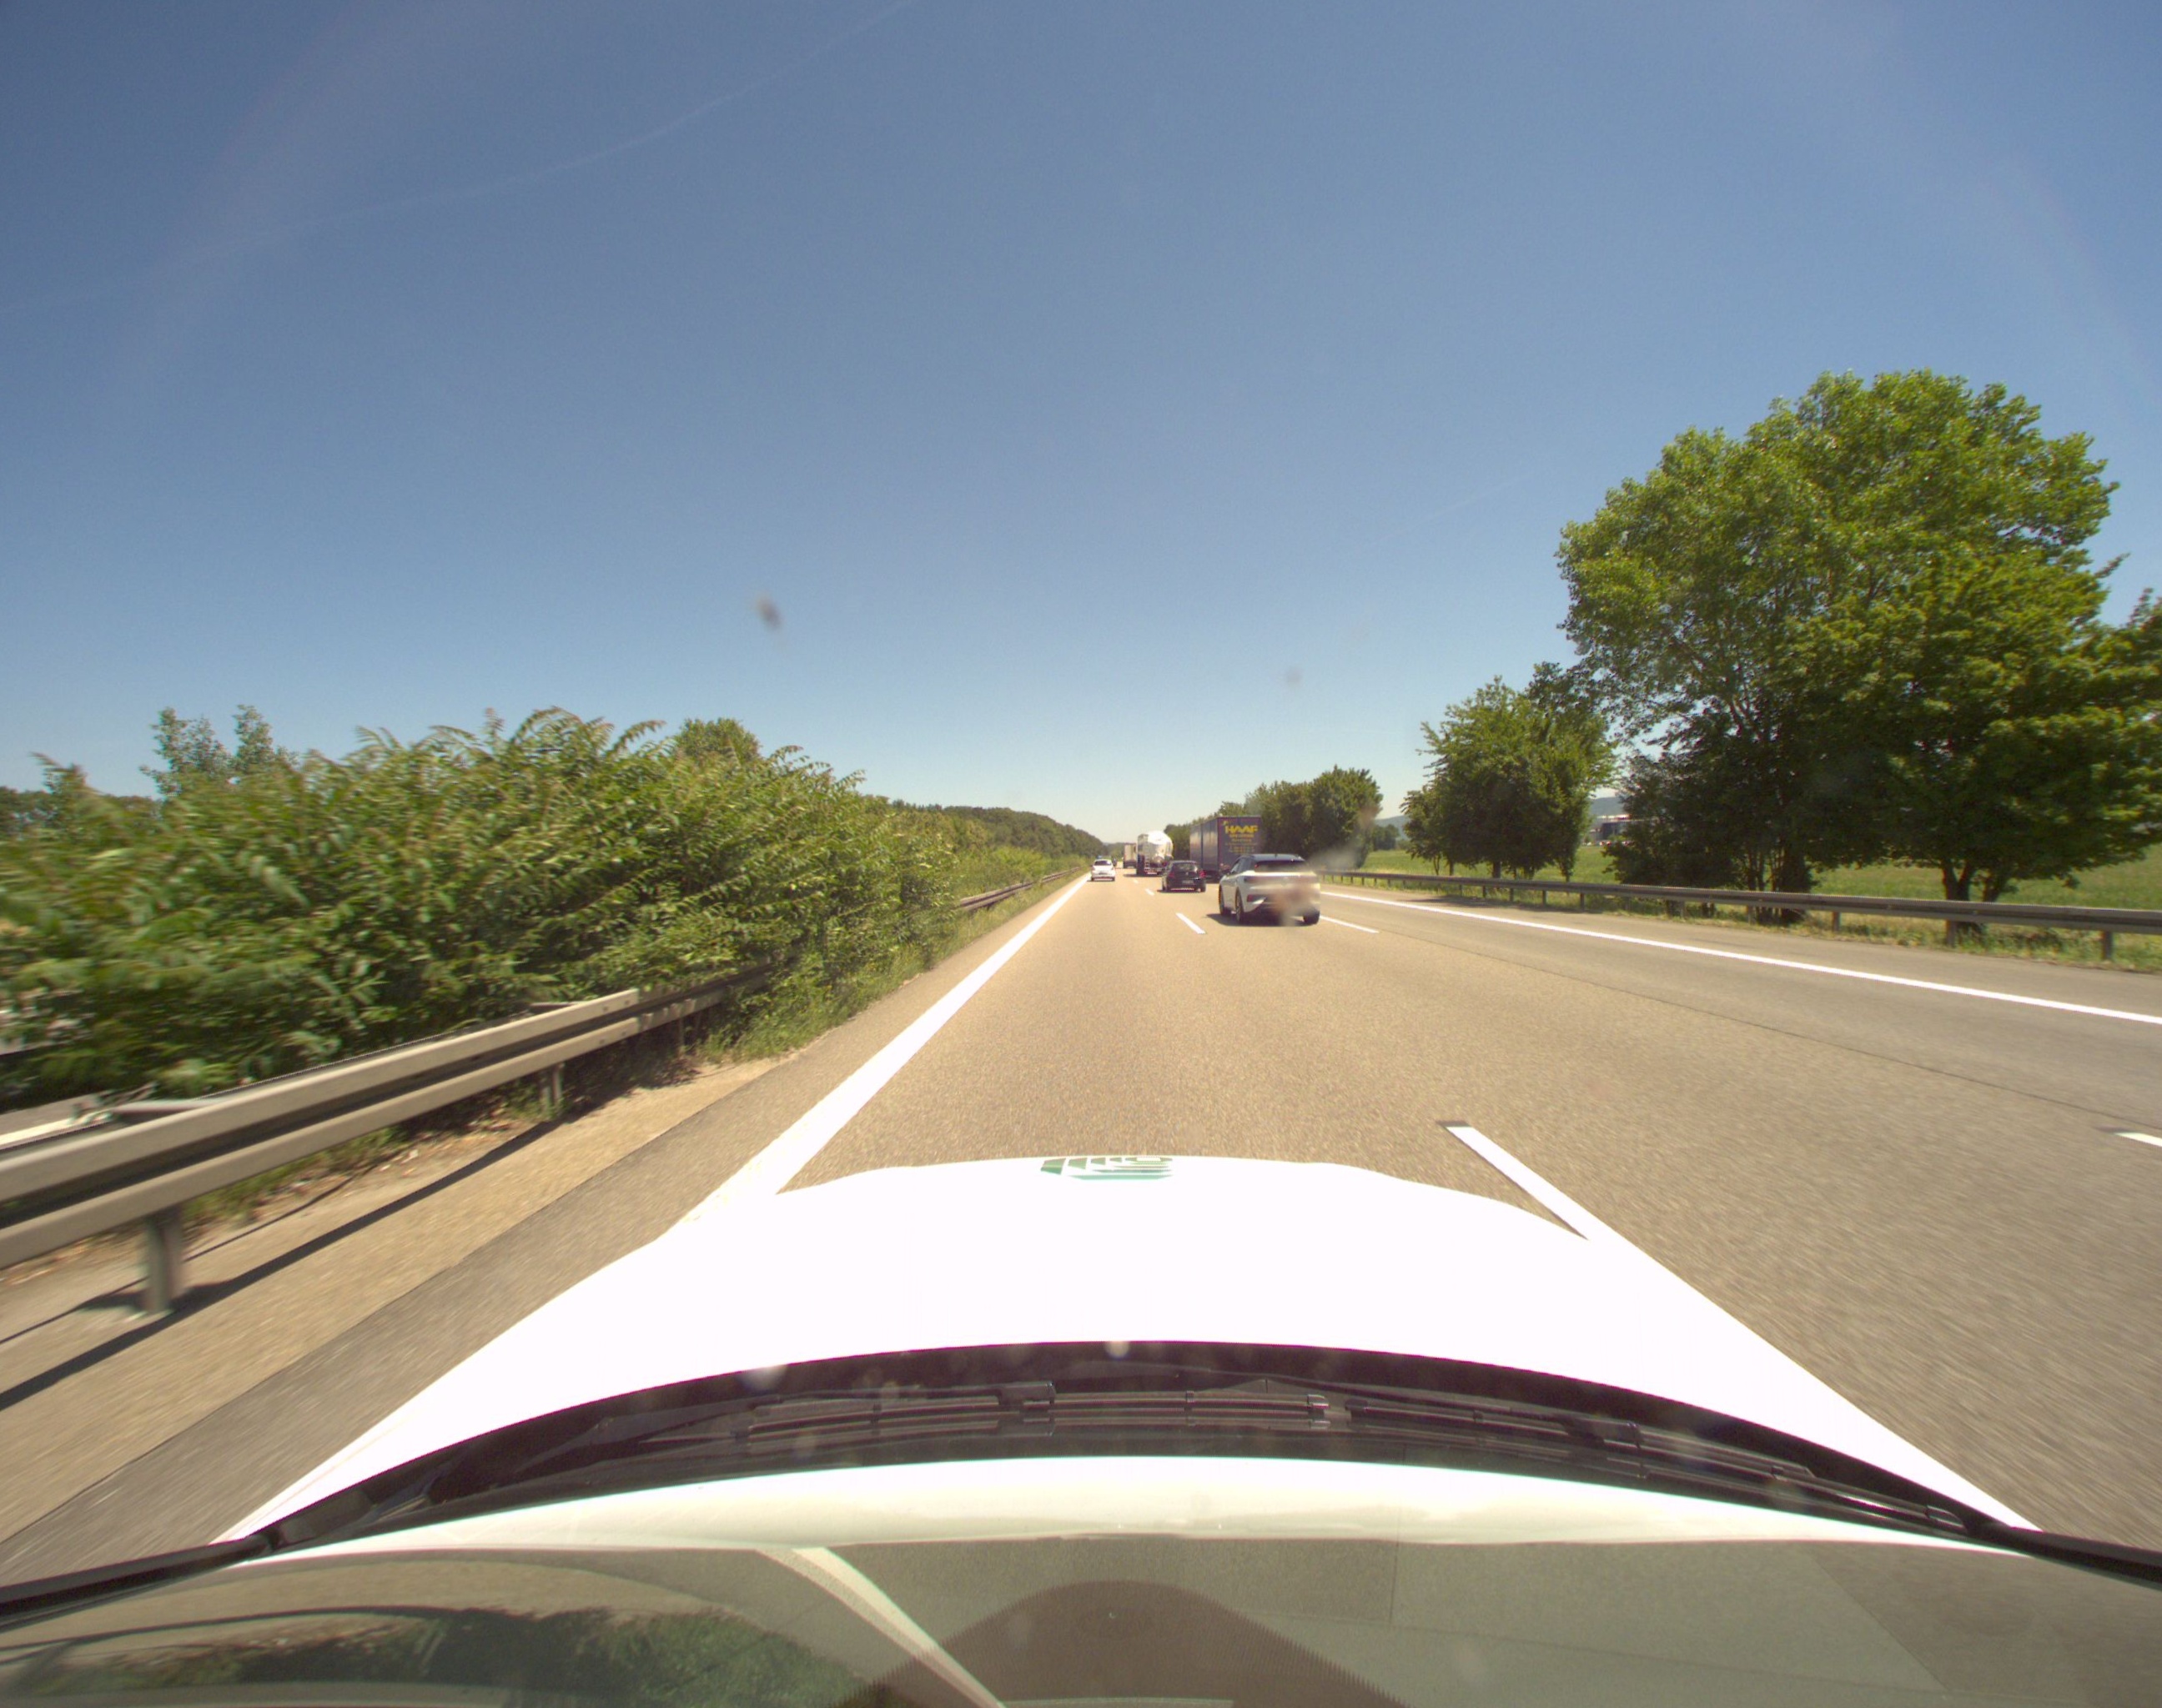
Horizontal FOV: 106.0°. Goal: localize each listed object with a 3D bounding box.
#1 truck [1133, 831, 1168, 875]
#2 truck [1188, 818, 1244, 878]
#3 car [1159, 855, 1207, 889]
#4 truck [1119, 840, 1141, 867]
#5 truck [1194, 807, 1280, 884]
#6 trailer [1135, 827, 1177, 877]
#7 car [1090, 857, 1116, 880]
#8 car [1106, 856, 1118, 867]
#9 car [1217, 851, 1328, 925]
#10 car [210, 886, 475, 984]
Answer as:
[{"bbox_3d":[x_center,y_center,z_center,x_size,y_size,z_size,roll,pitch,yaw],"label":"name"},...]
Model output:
[{"bbox_3d":[6.694,-0.106,79.090,2.902,4.079,7.195,0,0,1],"label":"truck"},{"bbox_3d":[9.836,-0.414,60.250,3.097,4.139,8.060,0,0,2],"label":"truck"},{"bbox_3d":[4.645,0.796,37.688,1.843,1.523,3.959,0,0,2],"label":"car"},{"bbox_3d":[7.985,-0.121,133.733,3.381,4.214,12.089,0,0,2],"label":"truck"},{"bbox_3d":[9.486,-0.428,51.598,3.097,4.139,15.519,0,0,2],"label":"truck"},{"bbox_3d":[6.584,-0.153,73.062,2.901,4.069,12.420,0,0,1],"label":"trailer"},{"bbox_3d":[1.546,0.976,57.544,1.793,1.552,3.610,0,0,1],"label":"car"},{"bbox_3d":[6.939,1.606,182.327,2.465,2.354,5.184,0,0,2],"label":"car"},{"bbox_3d":[4.524,0.742,19.901,1.796,1.603,4.382,0,0,1],"label":"car"},{"bbox_3d":[-16.315,1.693,18.368,1.917,1.717,4.289,-2,0,2],"label":"car"}]
